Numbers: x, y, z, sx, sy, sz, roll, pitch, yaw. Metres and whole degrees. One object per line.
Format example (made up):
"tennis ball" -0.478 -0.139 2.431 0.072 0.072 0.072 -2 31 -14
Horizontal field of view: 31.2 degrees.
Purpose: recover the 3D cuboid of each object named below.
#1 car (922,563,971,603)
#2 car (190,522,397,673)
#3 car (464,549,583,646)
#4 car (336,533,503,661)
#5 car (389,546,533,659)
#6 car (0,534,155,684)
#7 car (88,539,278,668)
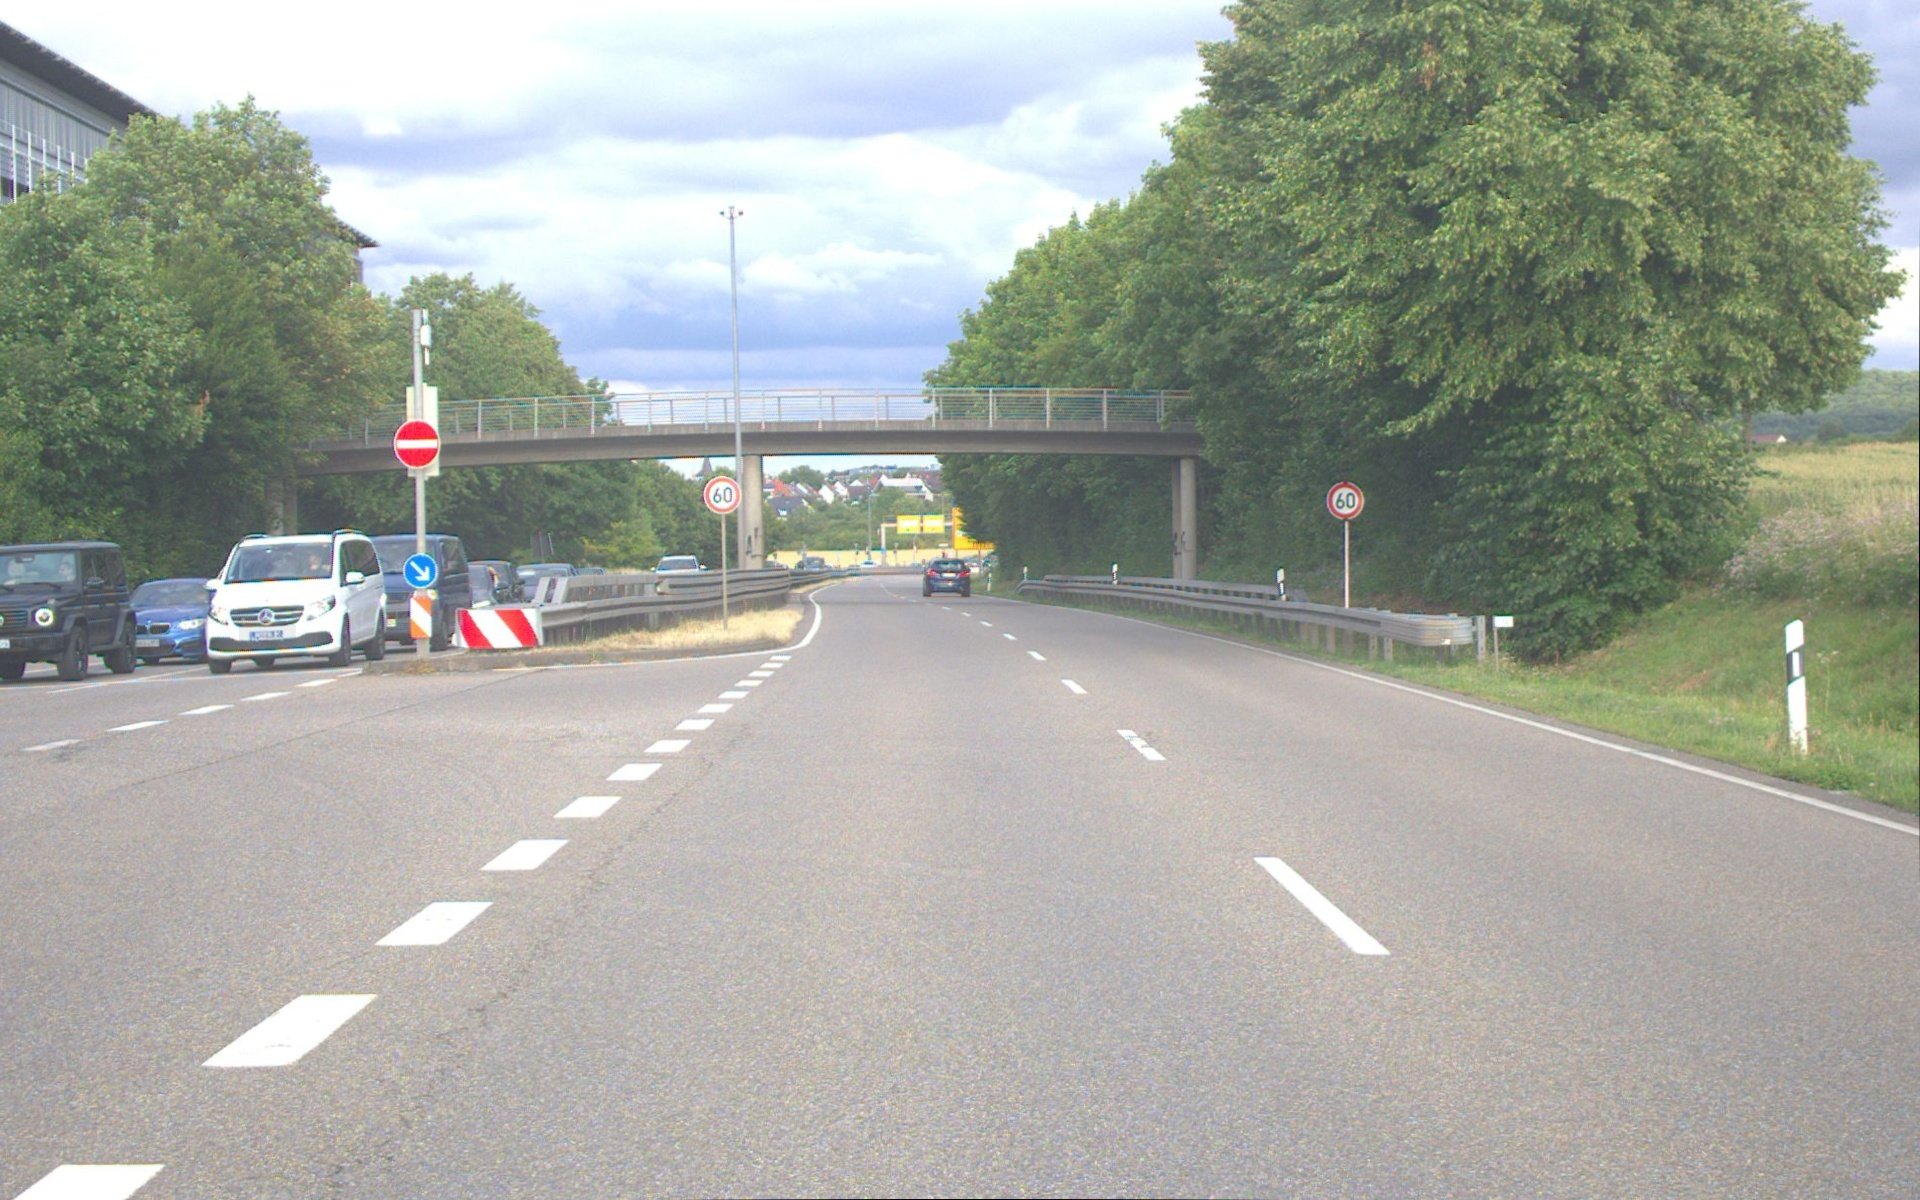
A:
"car" -0.553 -0.705 138.380 1.879 1.547 4.000 1 0 -1
"car" -9.485 -0.057 49.356 2.083 2.007 5.217 1 0 -2
"car" -9.538 -0.072 75.448 2.083 2.007 5.217 1 0 -2
"car" -8.907 -0.071 57.093 2.083 2.007 5.217 1 0 -2
"car" -9.328 0.024 64.660 2.083 2.007 5.217 1 0 -2
"car" -13.119 0.090 49.246 2.083 2.007 5.217 1 0 -2
"car" -12.751 0.032 56.747 2.083 2.007 5.217 1 0 -2
